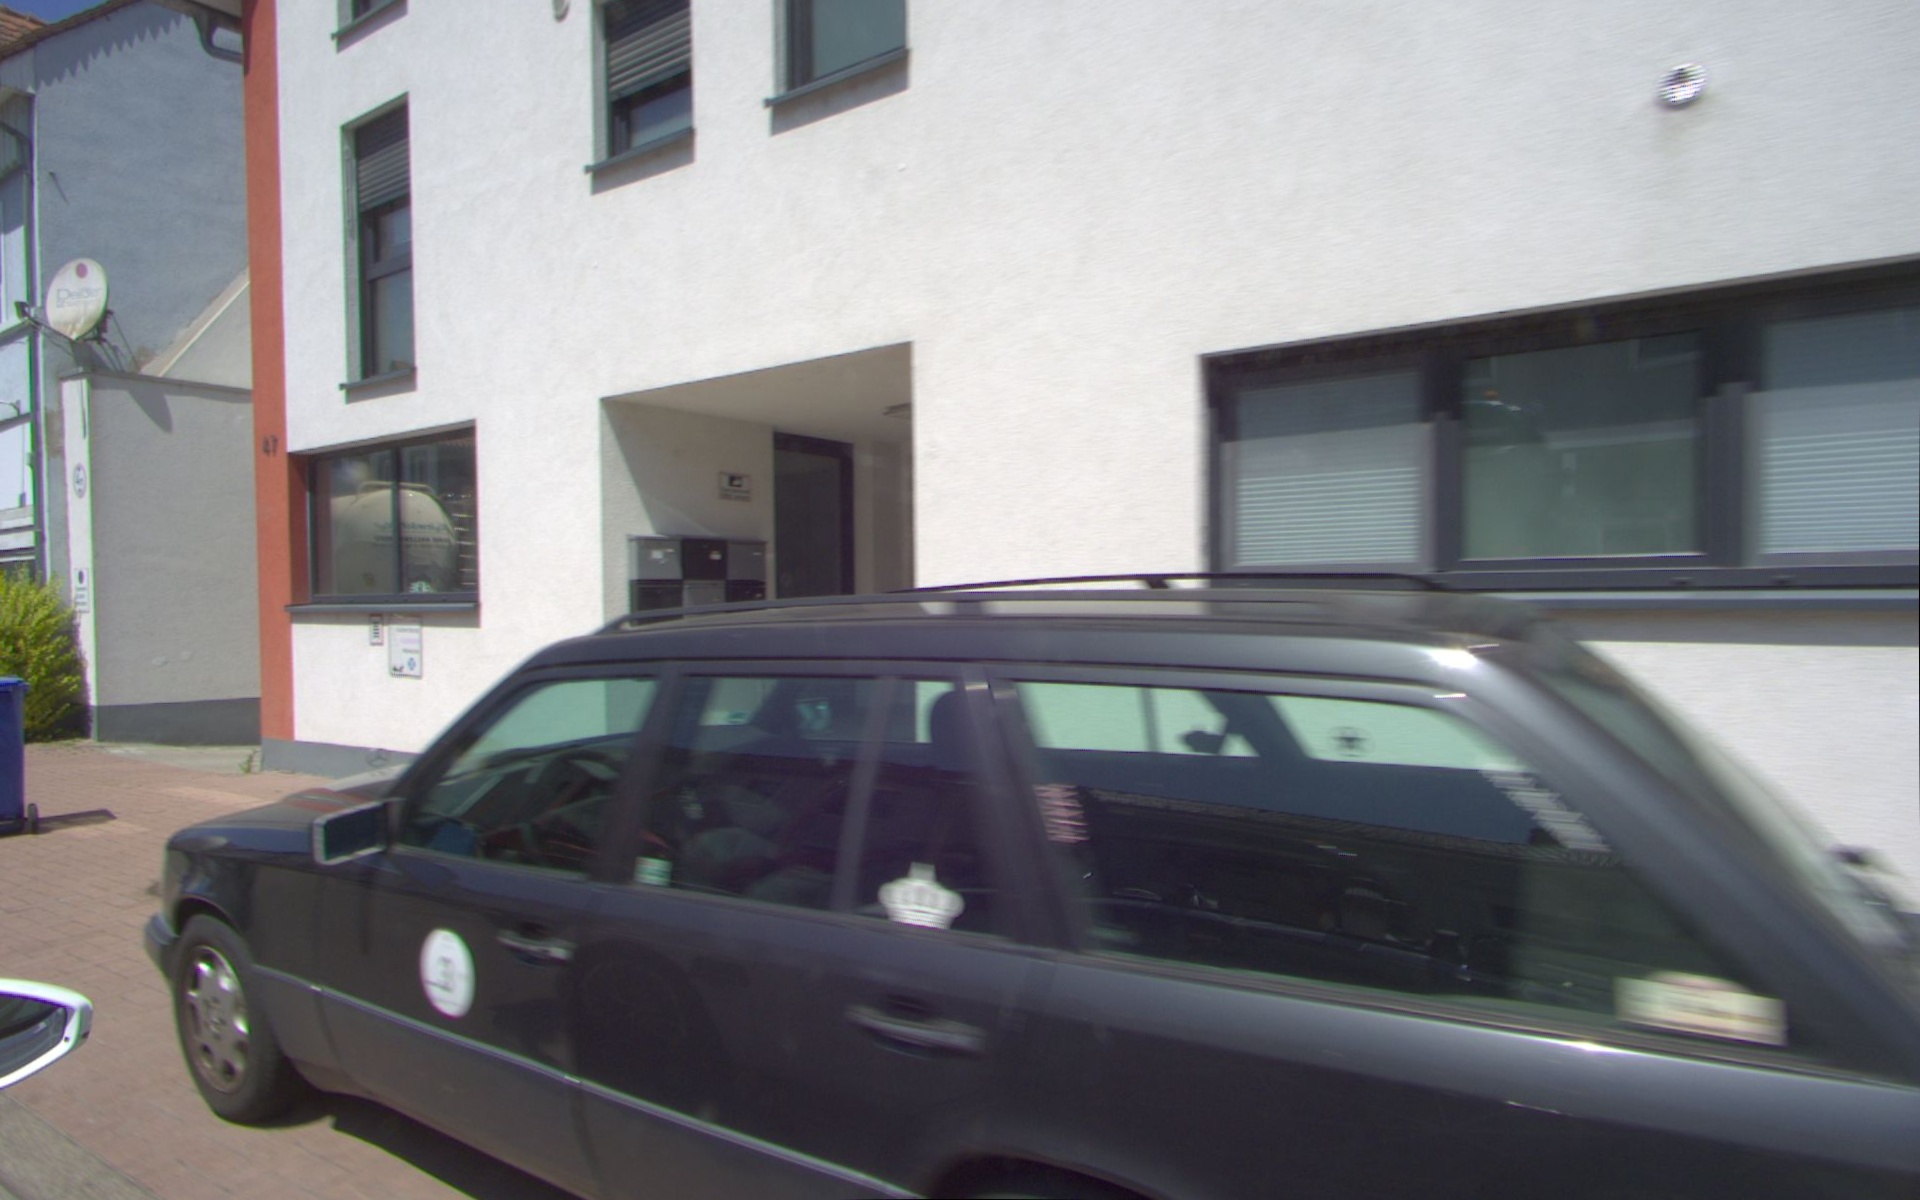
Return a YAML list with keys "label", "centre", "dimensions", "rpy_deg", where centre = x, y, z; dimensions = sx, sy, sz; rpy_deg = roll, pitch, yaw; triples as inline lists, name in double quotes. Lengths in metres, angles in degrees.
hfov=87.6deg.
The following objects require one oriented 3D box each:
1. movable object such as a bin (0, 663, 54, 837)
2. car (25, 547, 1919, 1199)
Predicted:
- label: "movable object such as a bin"
  centre: [-6.547, 1.002, 6.717]
  dimensions: [0.649, 1.074, 0.827]
  rpy_deg: [-3, 2, -43]
- label: "car"
  centre: [-0.586, 0.678, 2.807]
  dimensions: [4.766, 1.467, 1.696]
  rpy_deg: [-1, 2, 31]
